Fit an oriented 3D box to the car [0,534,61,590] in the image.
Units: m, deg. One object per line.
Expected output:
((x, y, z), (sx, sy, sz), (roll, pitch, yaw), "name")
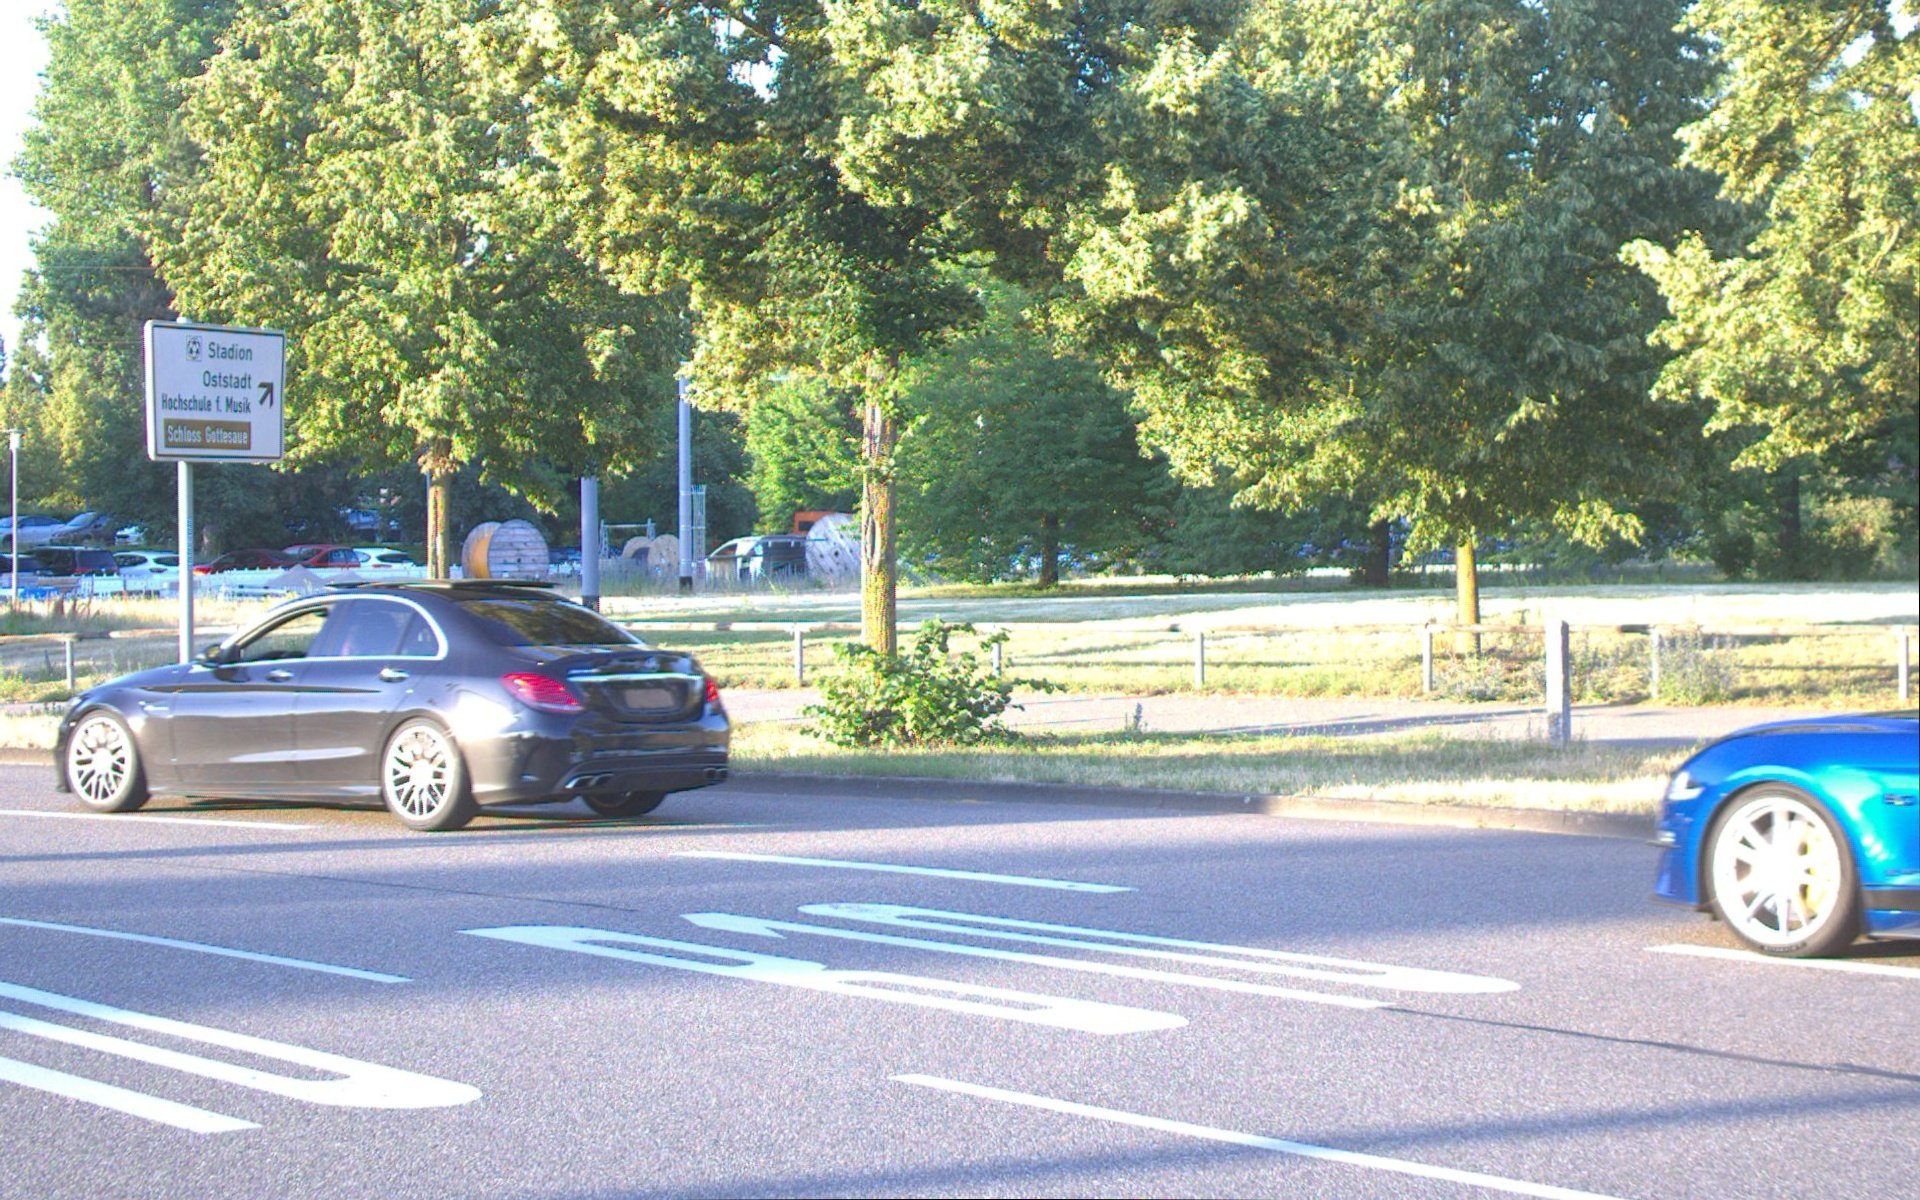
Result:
((-27.533, -1.065, 97.013), (3.994, 1.548, 1.900), (0, 1, 31), "car")

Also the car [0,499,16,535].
((-43.083, -3.579, 148.730), (1.901, 1.548, 3.992), (0, 1, 35), "car")

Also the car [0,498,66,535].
((-40.413, -3.571, 146.821), (1.901, 1.548, 3.992), (0, 1, 35), "car")

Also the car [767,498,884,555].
((-5.101, -2.775, 130.220), (3.994, 2.088, 1.900), (0, 1, 31), "car")

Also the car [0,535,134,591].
((-26.073, -1.076, 99.491), (3.994, 1.548, 1.900), (0, 1, 31), "car")

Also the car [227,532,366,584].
((-20.673, -1.314, 107.054), (3.994, 1.548, 1.900), (0, 1, 31), "car")

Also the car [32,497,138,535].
((-36.614, -3.516, 143.971), (1.901, 1.548, 3.992), (0, 1, 35), "car")

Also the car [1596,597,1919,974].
((4.756, 0.695, 12.392), (1.952, 1.337, 4.669), (0, 1, -40), "car")

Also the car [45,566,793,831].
((-3.338, 0.519, 20.814), (4.424, 1.422, 1.953), (1, 1, 37), "car")

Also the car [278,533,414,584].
((-19.481, -1.318, 109.068), (3.994, 1.548, 1.900), (0, 1, 31), "car")

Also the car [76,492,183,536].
((-34.320, -3.545, 142.095), (1.997, 1.738, 3.992), (1, 1, 34), "car")

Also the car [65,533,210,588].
((-24.400, -1.166, 101.950), (3.994, 1.548, 1.900), (0, 1, 31), "car")
